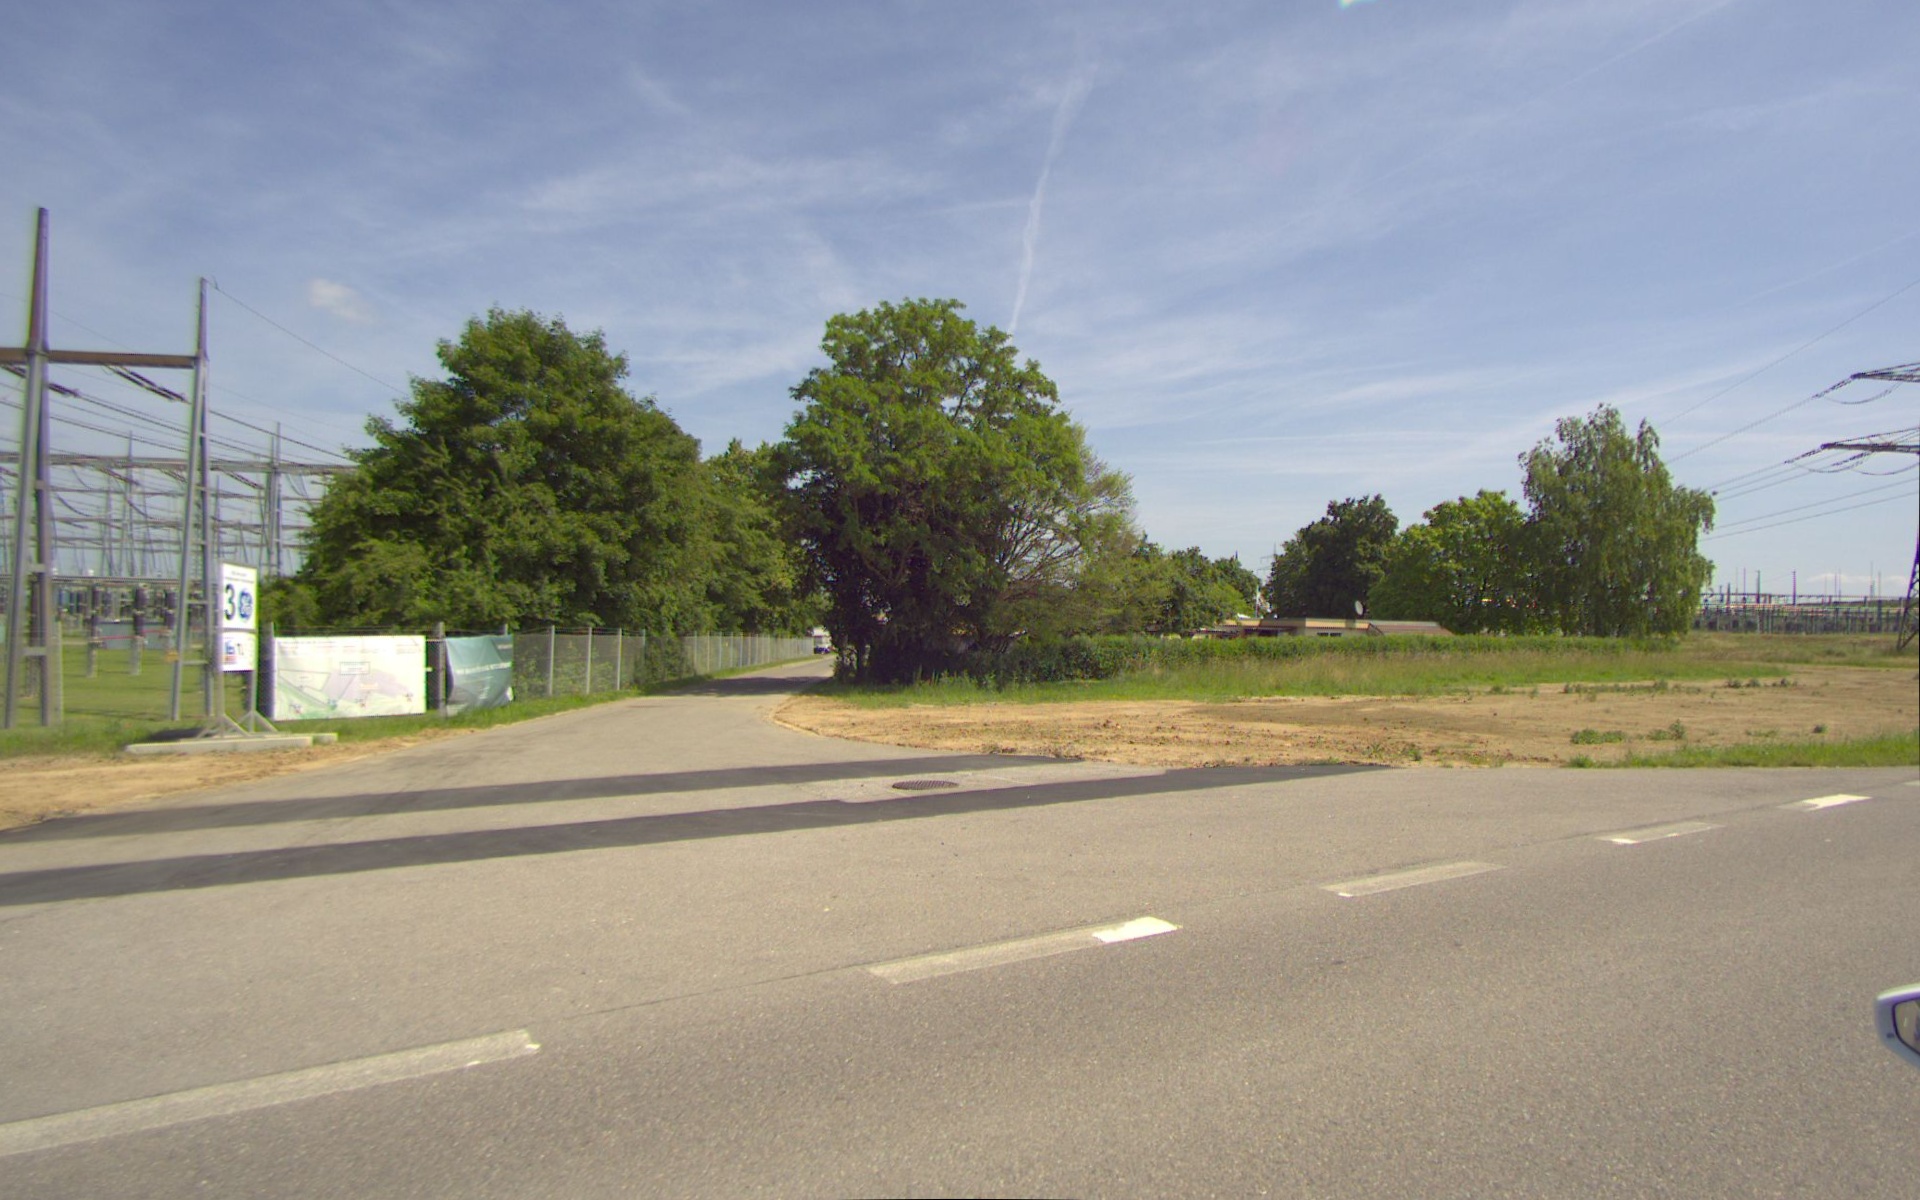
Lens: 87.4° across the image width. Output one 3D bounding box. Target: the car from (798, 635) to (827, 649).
[{"bbox_3d":[-21.905,6.234,149.504,4.225,1.947,1.876,2,0,-7],"label":"car"}]
